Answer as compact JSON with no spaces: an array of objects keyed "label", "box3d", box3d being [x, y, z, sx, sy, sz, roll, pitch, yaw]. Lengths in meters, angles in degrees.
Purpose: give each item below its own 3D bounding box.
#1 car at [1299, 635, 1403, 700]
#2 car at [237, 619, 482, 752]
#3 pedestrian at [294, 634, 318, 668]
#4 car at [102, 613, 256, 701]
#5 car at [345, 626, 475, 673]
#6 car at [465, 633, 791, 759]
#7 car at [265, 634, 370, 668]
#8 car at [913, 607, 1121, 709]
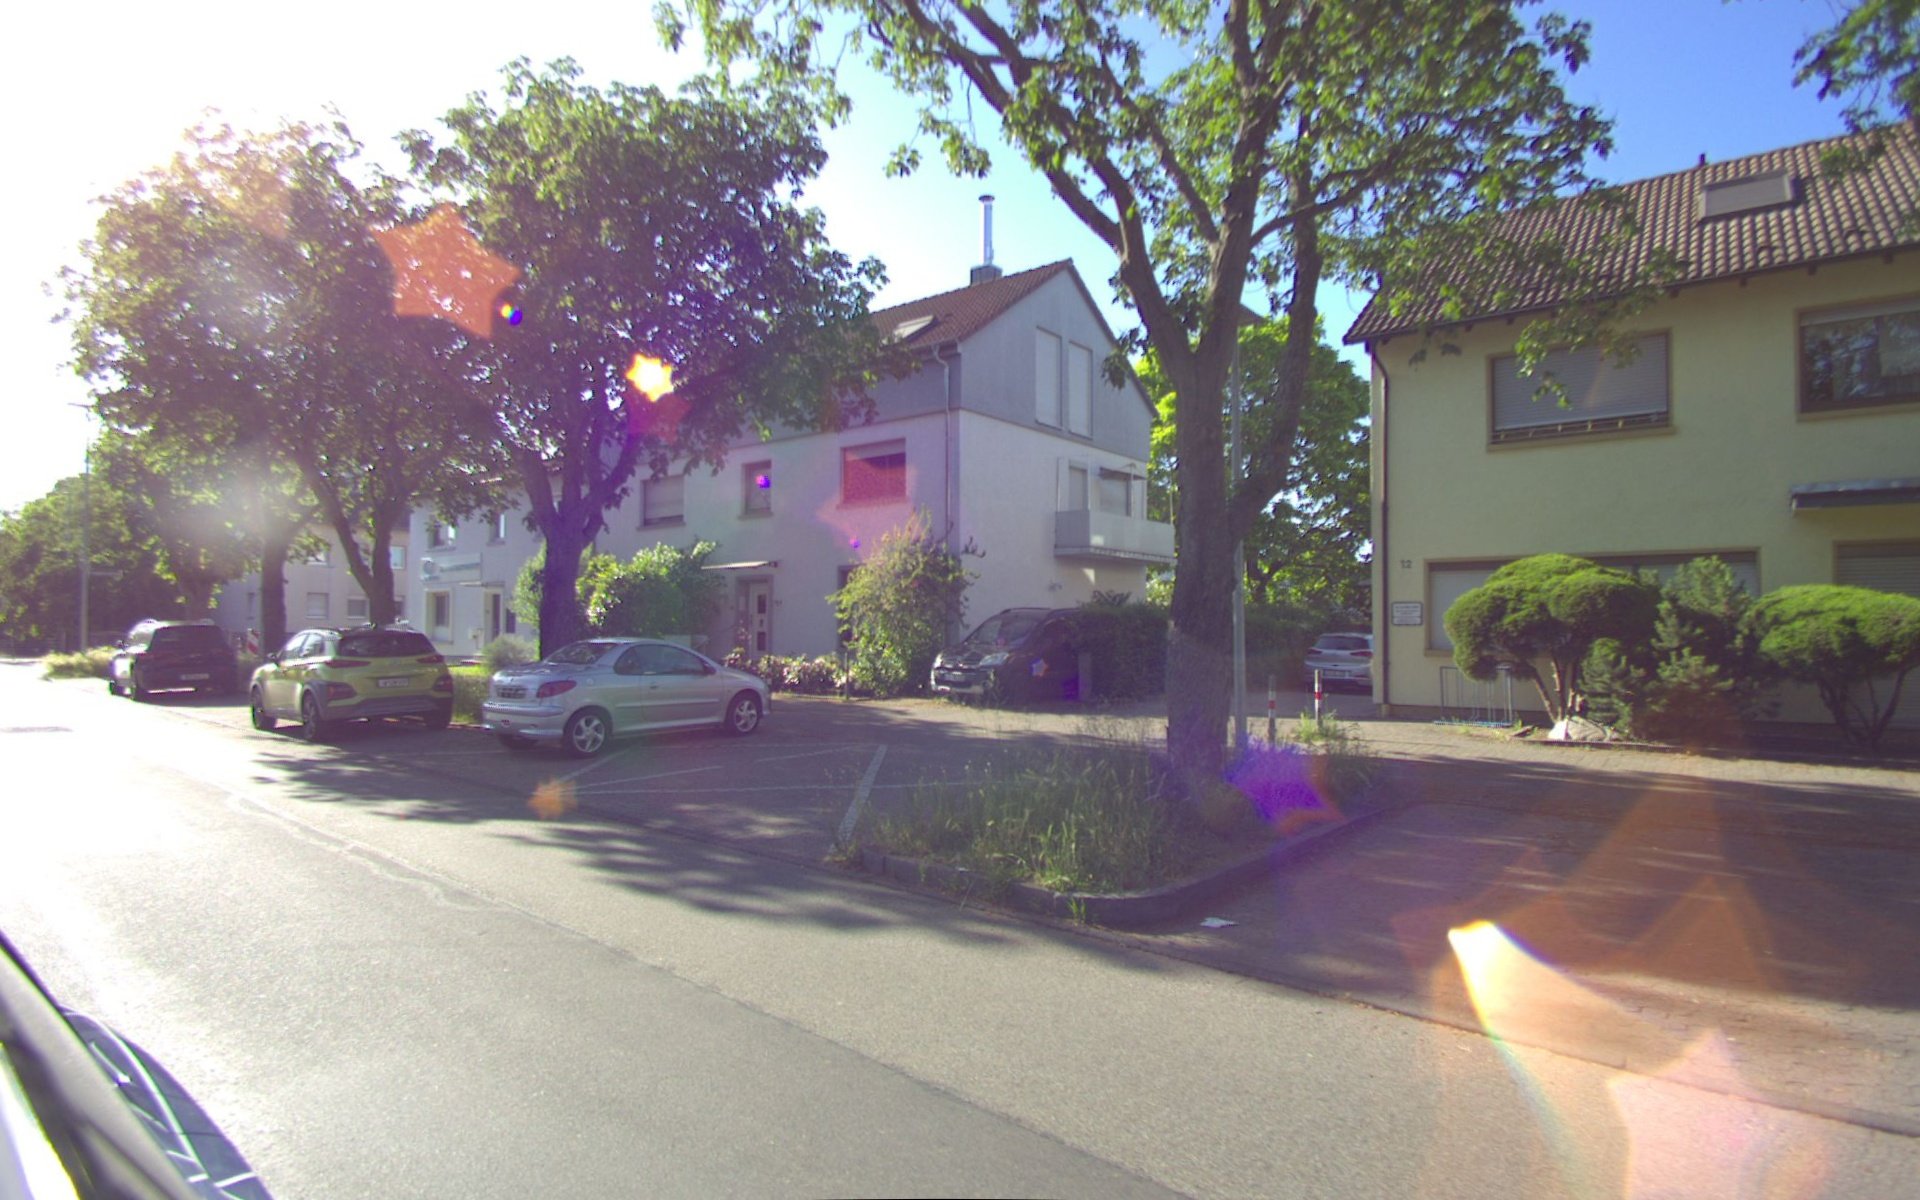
[{"label":"car","box3d":[9.782,1.625,25.159,1.755,1.475,3.957,-2,-3,31]},{"label":"car","box3d":[-8.917,1.109,14.873,4.383,1.621,1.918,-1,-1,43]},{"label":"pedestrian","box3d":[-31.304,2.440,48.436,0.638,1.565,0.776,-4,-3,38]},{"label":"car","box3d":[-17.507,1.255,22.579,4.874,1.740,1.932,-4,-3,43]},{"label":"car","box3d":[-23.289,2.109,42.992,1.997,1.852,4.445,-6,-5,38]},{"label":"car","box3d":[-4.158,1.138,13.121,1.610,1.311,3.726,-4,-3,40]},{"label":"car","box3d":[-29.954,2.389,47.226,1.869,1.490,3.729,-4,-5,39]},{"label":"car","box3d":[1.208,1.045,19.510,1.996,1.727,4.196,-3,-2,36]}]
